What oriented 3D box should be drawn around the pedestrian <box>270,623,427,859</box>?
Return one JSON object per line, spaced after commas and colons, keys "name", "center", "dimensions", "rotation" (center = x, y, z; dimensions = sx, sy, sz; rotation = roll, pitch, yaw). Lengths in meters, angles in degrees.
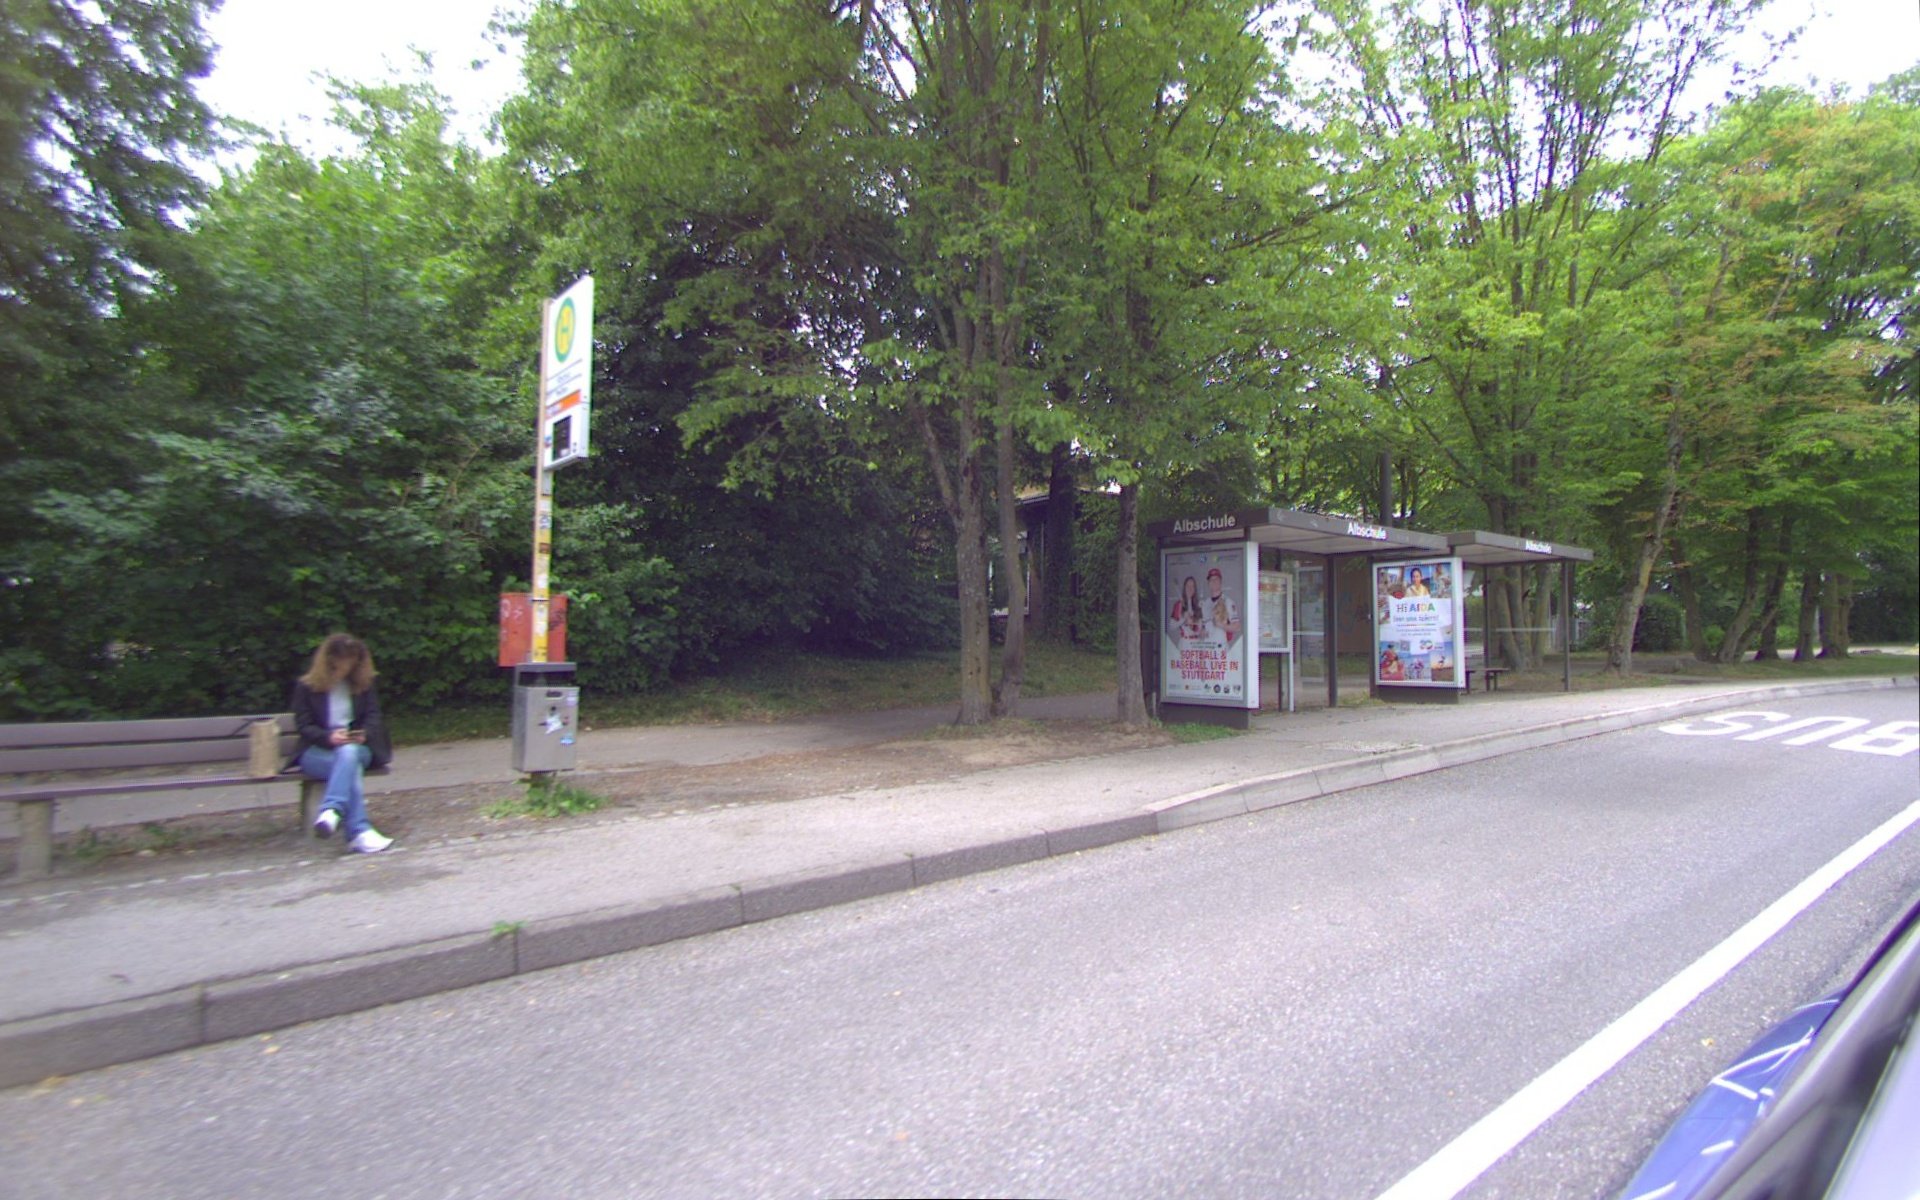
{"name": "pedestrian", "center": [-3.530, 0.740, 5.818], "dimensions": [0.570, 1.197, 1.065], "rotation": [1, -1, -42]}
